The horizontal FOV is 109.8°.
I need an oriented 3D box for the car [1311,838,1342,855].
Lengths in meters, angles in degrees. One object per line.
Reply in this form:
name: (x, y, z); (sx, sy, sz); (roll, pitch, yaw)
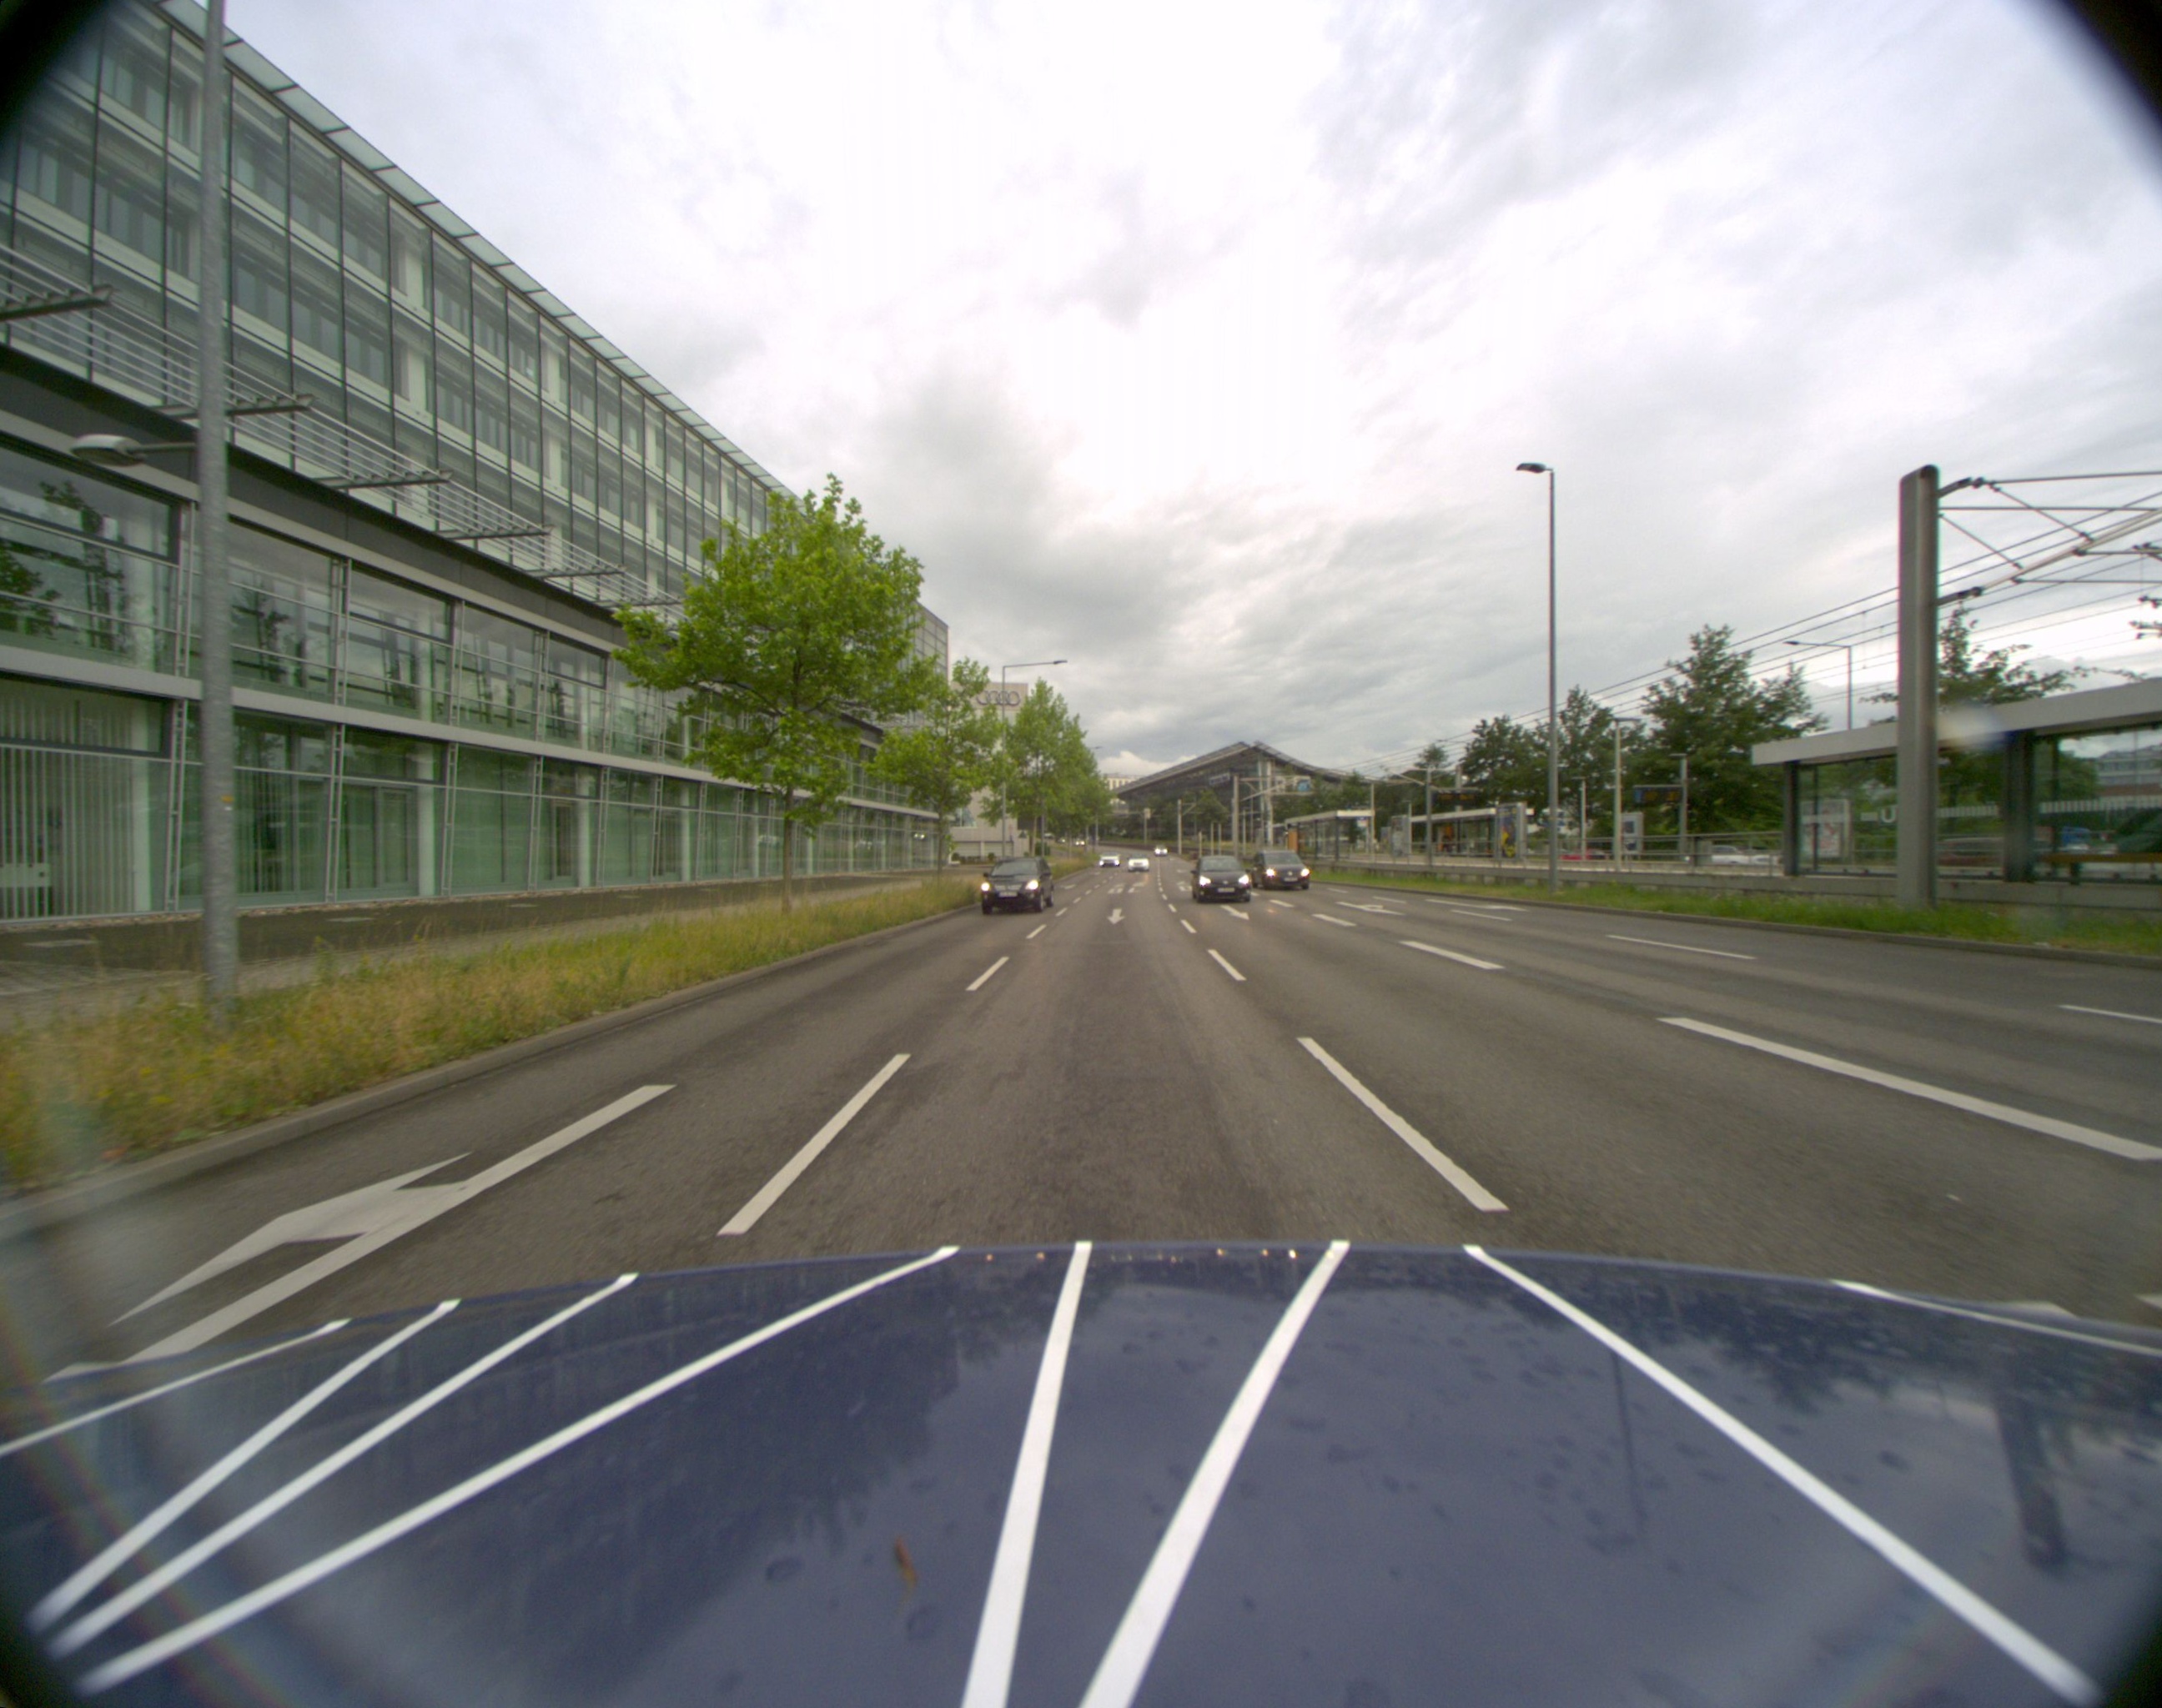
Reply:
car: (27.073, -0.847, 83.865); (1.999, 1.837, 3.998); (-3, 1, -1)

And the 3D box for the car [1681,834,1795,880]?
car: (31.479, 0.082, 36.588); (1.998, 2.002, 3.999); (-3, 1, 0)

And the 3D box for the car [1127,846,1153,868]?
car: (4.880, 0.218, 62.818); (1.805, 1.713, 3.999); (-3, 1, 1)

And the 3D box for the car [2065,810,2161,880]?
car: (28.331, -0.237, 18.579); (1.999, 1.721, 5.028); (-3, 1, -1)

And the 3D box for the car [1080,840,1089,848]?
car: (0.822, -2.194, 169.706); (1.829, 1.701, 4.152); (-3, 1, -2)

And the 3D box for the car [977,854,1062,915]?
car: (-1.792, 0.866, 23.619); (1.769, 1.620, 4.326); (-3, 1, 6)

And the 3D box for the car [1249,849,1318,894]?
car: (8.281, 0.662, 31.473); (1.731, 1.583, 4.192); (-3, 1, 1)

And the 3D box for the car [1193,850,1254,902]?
car: (4.675, 0.727, 25.344); (1.696, 1.513, 3.908); (-3, -2, 7)

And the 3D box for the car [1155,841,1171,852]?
car: (11.513, -1.059, 106.648); (1.740, 1.469, 3.999); (-2, 1, -1)

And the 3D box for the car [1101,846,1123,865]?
car: (3.067, 0.112, 74.767); (1.998, 1.669, 3.821); (-1, 1, 0)
